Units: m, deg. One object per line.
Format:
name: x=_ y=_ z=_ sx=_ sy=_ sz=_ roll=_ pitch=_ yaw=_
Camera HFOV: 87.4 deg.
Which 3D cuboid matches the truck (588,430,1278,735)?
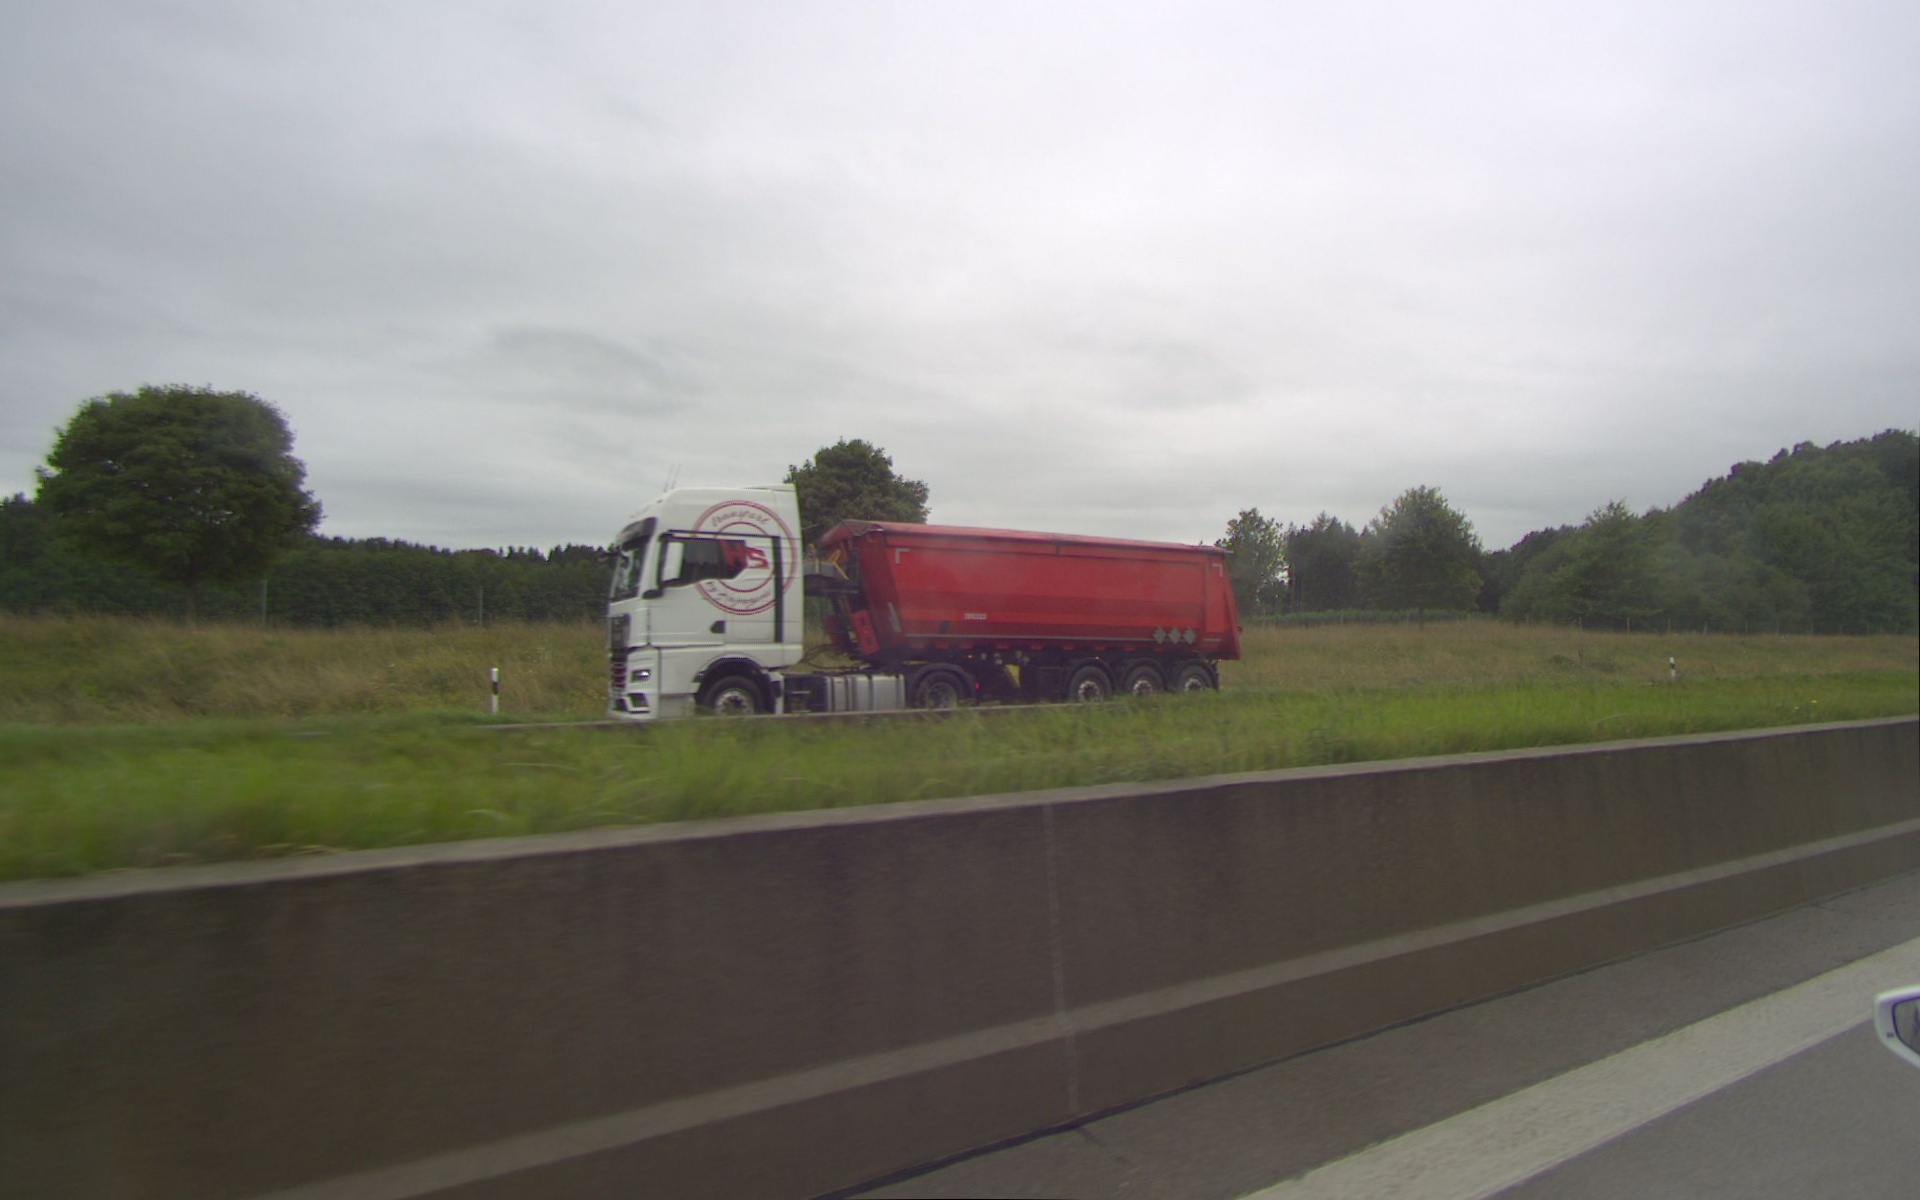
truck: x=0.252 y=0.098 z=18.486 sx=12.952 sy=4.261 sz=2.741 roll=3 pitch=-3 yaw=-31
